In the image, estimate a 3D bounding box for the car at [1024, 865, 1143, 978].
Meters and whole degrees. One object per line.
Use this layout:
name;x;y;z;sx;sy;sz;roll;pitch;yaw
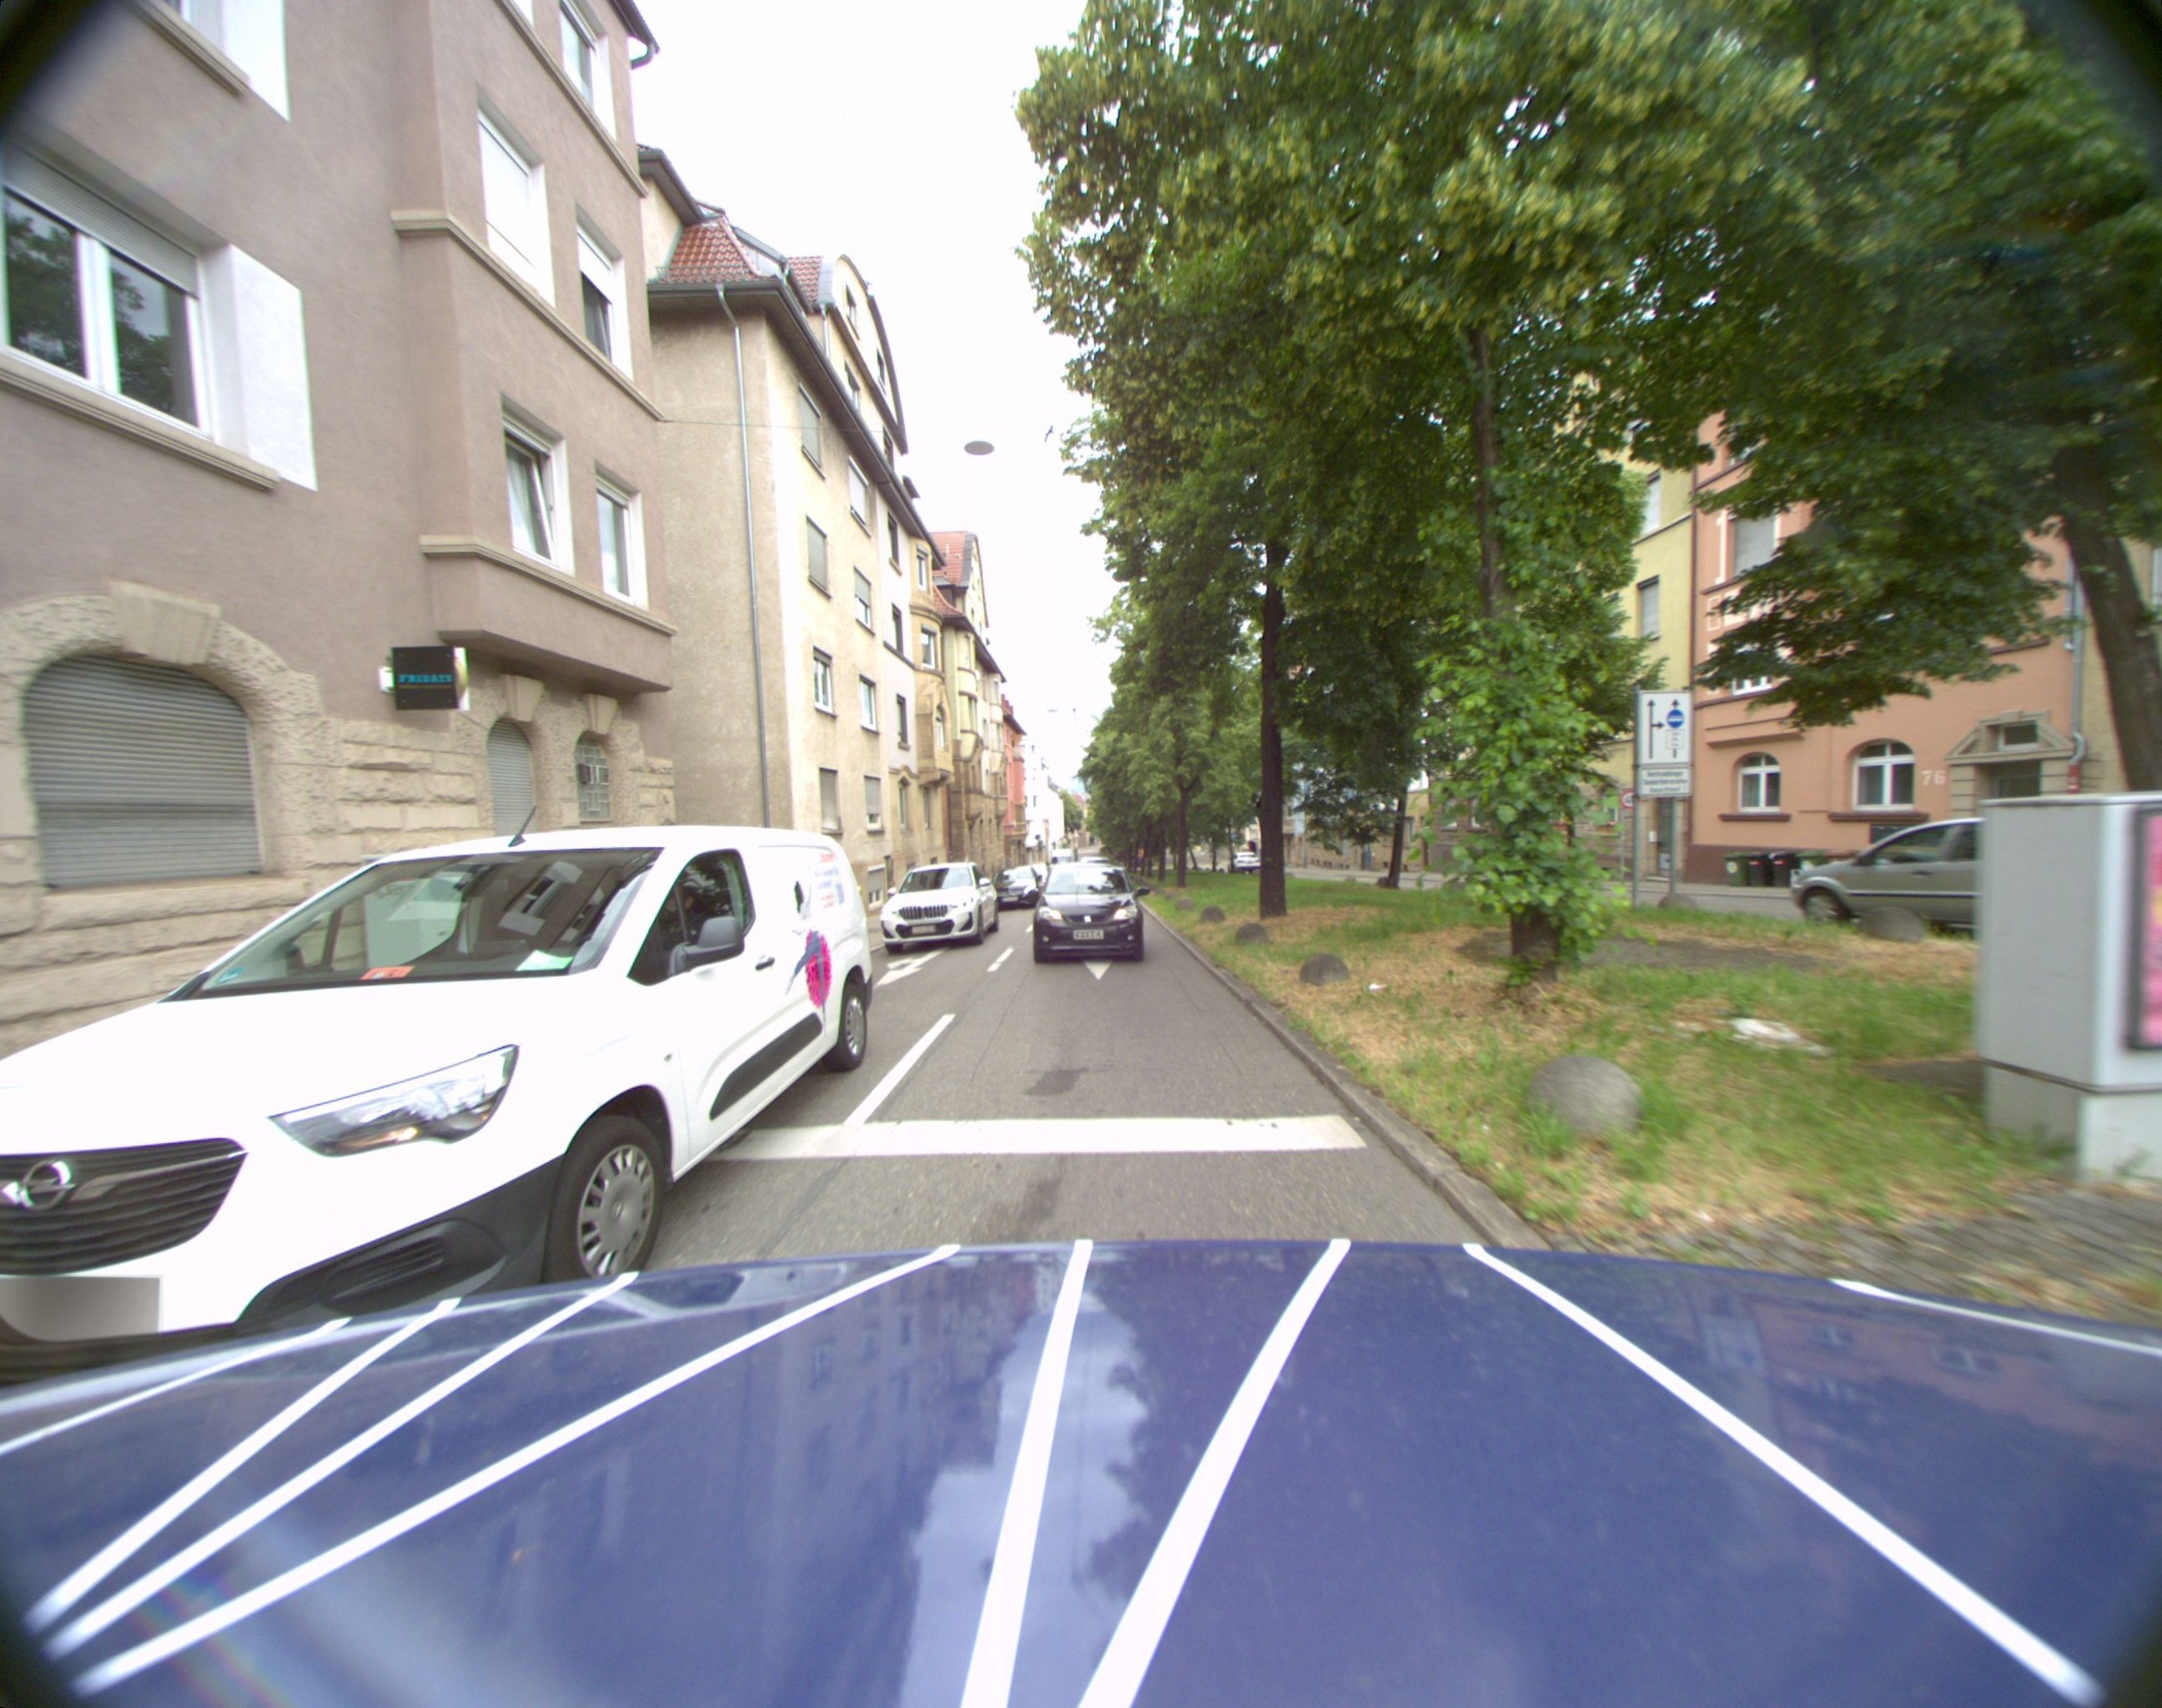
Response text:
car;0.053;0.962;12.296;1.604;1.448;3.684;-2;0;1

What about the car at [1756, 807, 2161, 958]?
car;11.384;0.274;9.867;1.722;1.543;3.960;-2;0;1

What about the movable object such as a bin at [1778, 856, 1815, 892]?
movable object such as a bin;17.948;0.499;19.060;0.487;0.859;0.449;-2;1;7

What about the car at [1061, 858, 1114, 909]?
car;0.197;1.007;27.462;1.784;1.583;3.532;0;2;-1

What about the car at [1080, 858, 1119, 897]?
car;0.810;1.036;34.814;1.696;1.583;3.532;0;2;0

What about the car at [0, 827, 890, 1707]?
car;-2.544;0.891;3.938;1.788;1.779;4.843;-4;0;0

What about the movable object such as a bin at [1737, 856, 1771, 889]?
movable object such as a bin;17.972;0.494;20.298;0.487;0.859;0.449;-2;1;7

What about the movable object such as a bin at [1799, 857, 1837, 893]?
movable object such as a bin;17.896;0.502;18.451;0.487;0.859;0.449;-2;1;7

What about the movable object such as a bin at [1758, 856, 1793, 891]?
movable object such as a bin;17.938;0.497;19.631;0.487;0.859;0.449;-2;1;7

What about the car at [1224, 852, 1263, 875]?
car;12.420;0.692;58.372;1.942;1.625;4.518;-3;0;1

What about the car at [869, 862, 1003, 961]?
car;-2.786;1.041;15.590;1.780;1.598;4.163;-5;0;1

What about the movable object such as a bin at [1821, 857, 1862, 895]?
movable object such as a bin;17.787;0.507;17.780;0.487;0.859;0.449;-2;1;7

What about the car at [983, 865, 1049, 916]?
car;-2.154;1.212;26.393;1.780;1.433;4.163;-5;0;1

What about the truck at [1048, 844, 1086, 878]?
truck;-1.223;0.594;71.540;2.551;2.891;7.780;-2;0;5

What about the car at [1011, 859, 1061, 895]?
car;-2.019;1.039;35.182;1.841;1.477;4.001;-2;0;3
